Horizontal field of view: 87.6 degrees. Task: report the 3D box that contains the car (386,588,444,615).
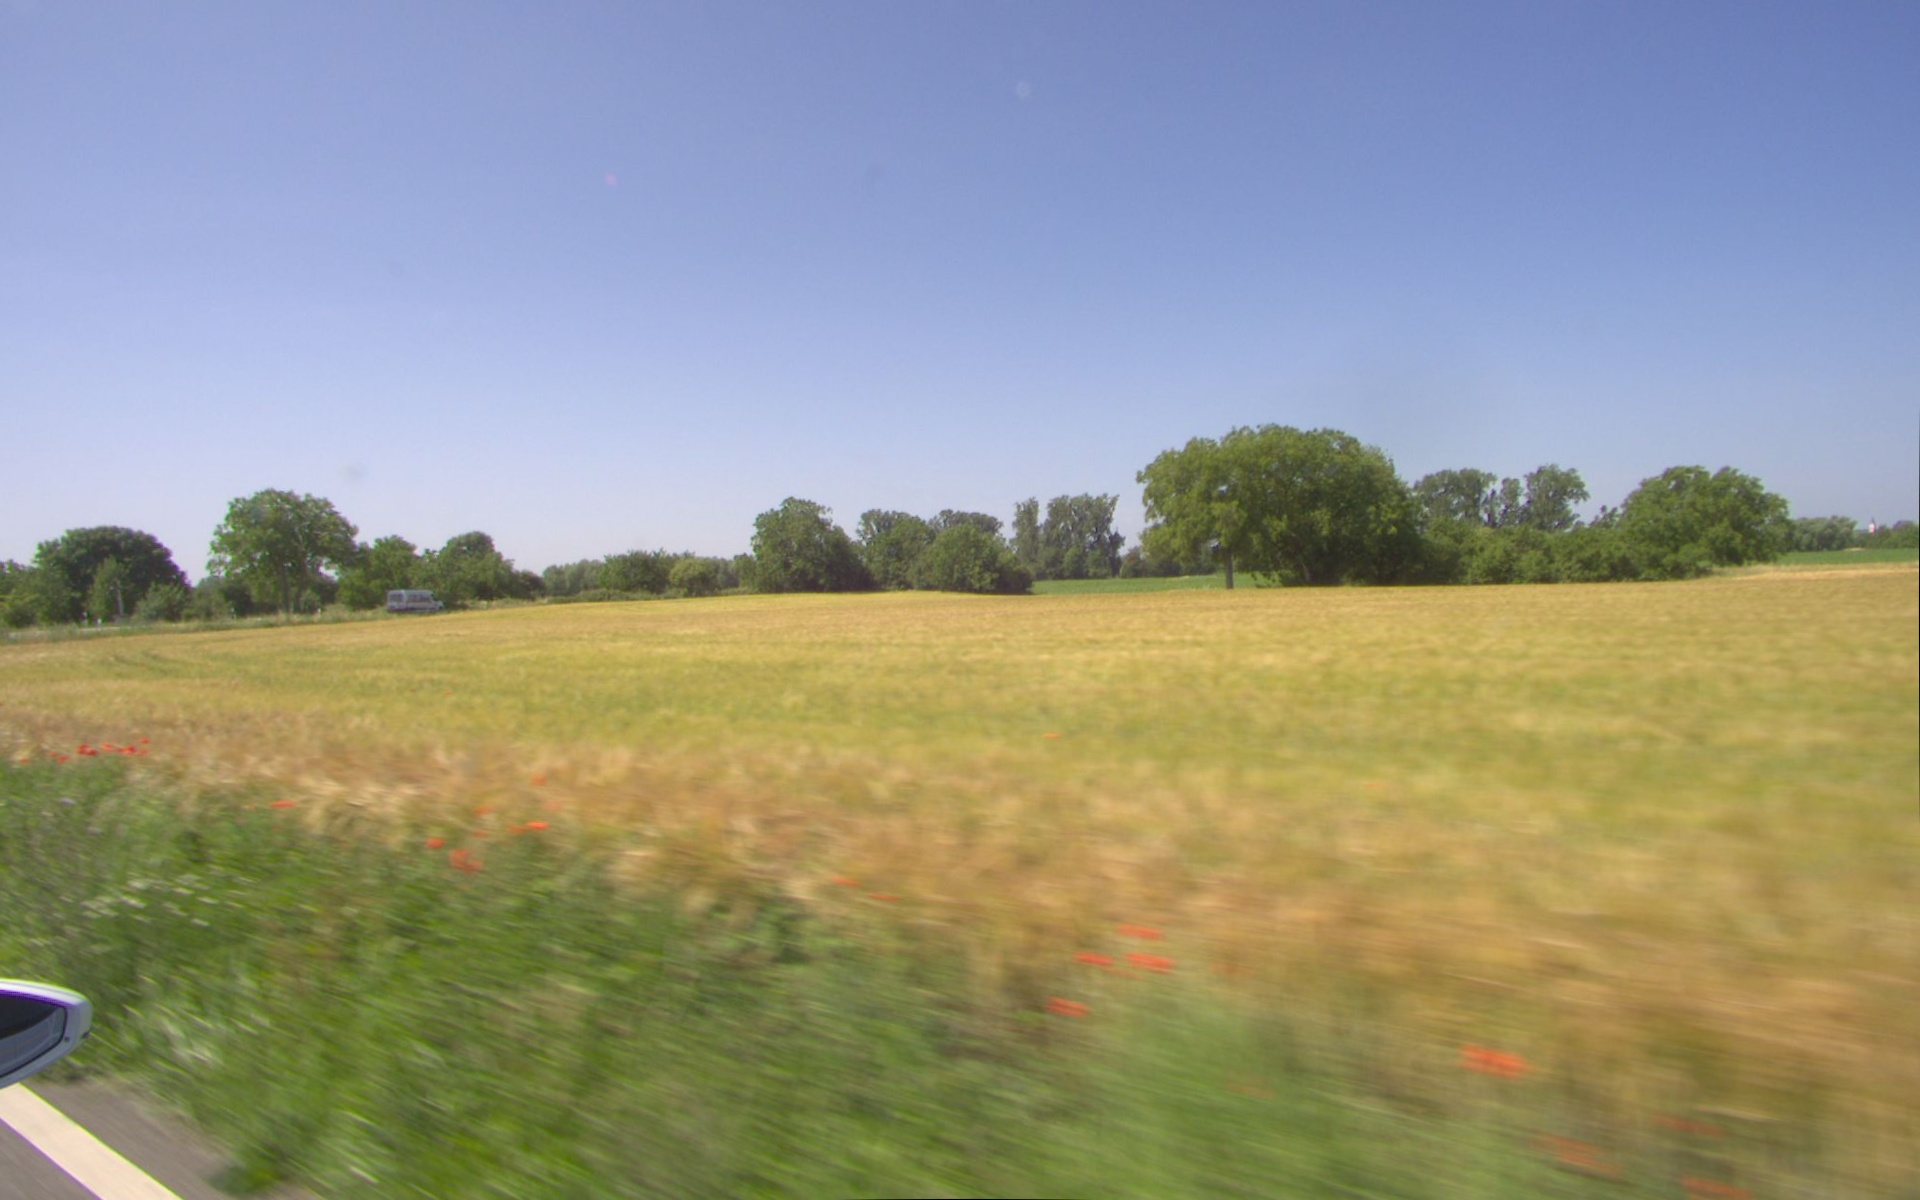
[{"bbox_3d":[-53.387,0.079,98.224,2.070,2.399,5.682,-2,2,6],"label":"car"}]
